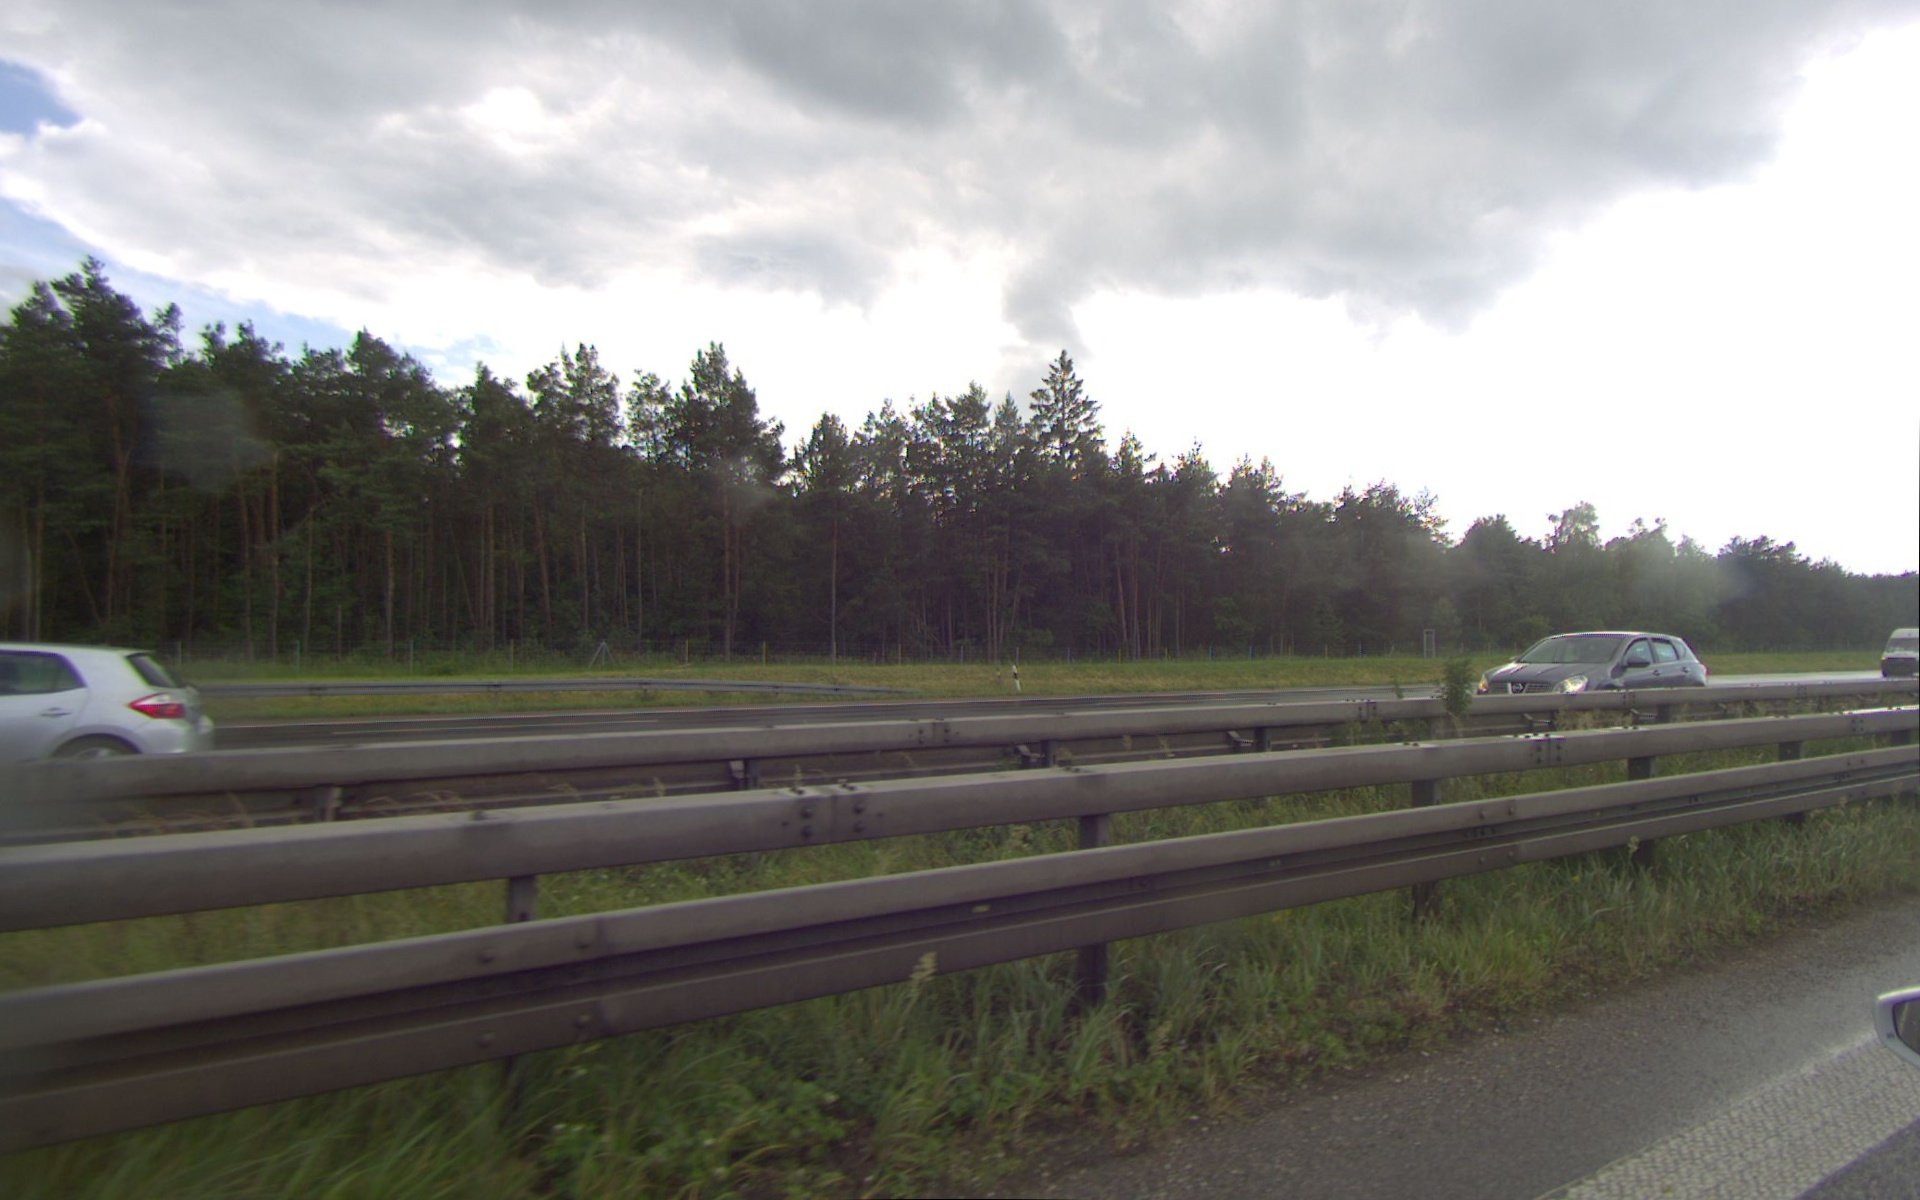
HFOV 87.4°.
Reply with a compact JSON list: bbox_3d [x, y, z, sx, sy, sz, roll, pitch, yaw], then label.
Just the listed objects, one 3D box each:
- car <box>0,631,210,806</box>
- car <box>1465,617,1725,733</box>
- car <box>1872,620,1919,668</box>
[{"bbox_3d":[-9.366,1.035,9.062,3.953,1.507,1.690,1,-2,-31],"label":"car"},{"bbox_3d":[9.735,1.062,15.351,3.953,1.560,1.762,1,-2,-31],"label":"car"},{"bbox_3d":[53.167,2.418,55.620,6.507,2.543,2.088,1,-3,-31],"label":"car"}]
